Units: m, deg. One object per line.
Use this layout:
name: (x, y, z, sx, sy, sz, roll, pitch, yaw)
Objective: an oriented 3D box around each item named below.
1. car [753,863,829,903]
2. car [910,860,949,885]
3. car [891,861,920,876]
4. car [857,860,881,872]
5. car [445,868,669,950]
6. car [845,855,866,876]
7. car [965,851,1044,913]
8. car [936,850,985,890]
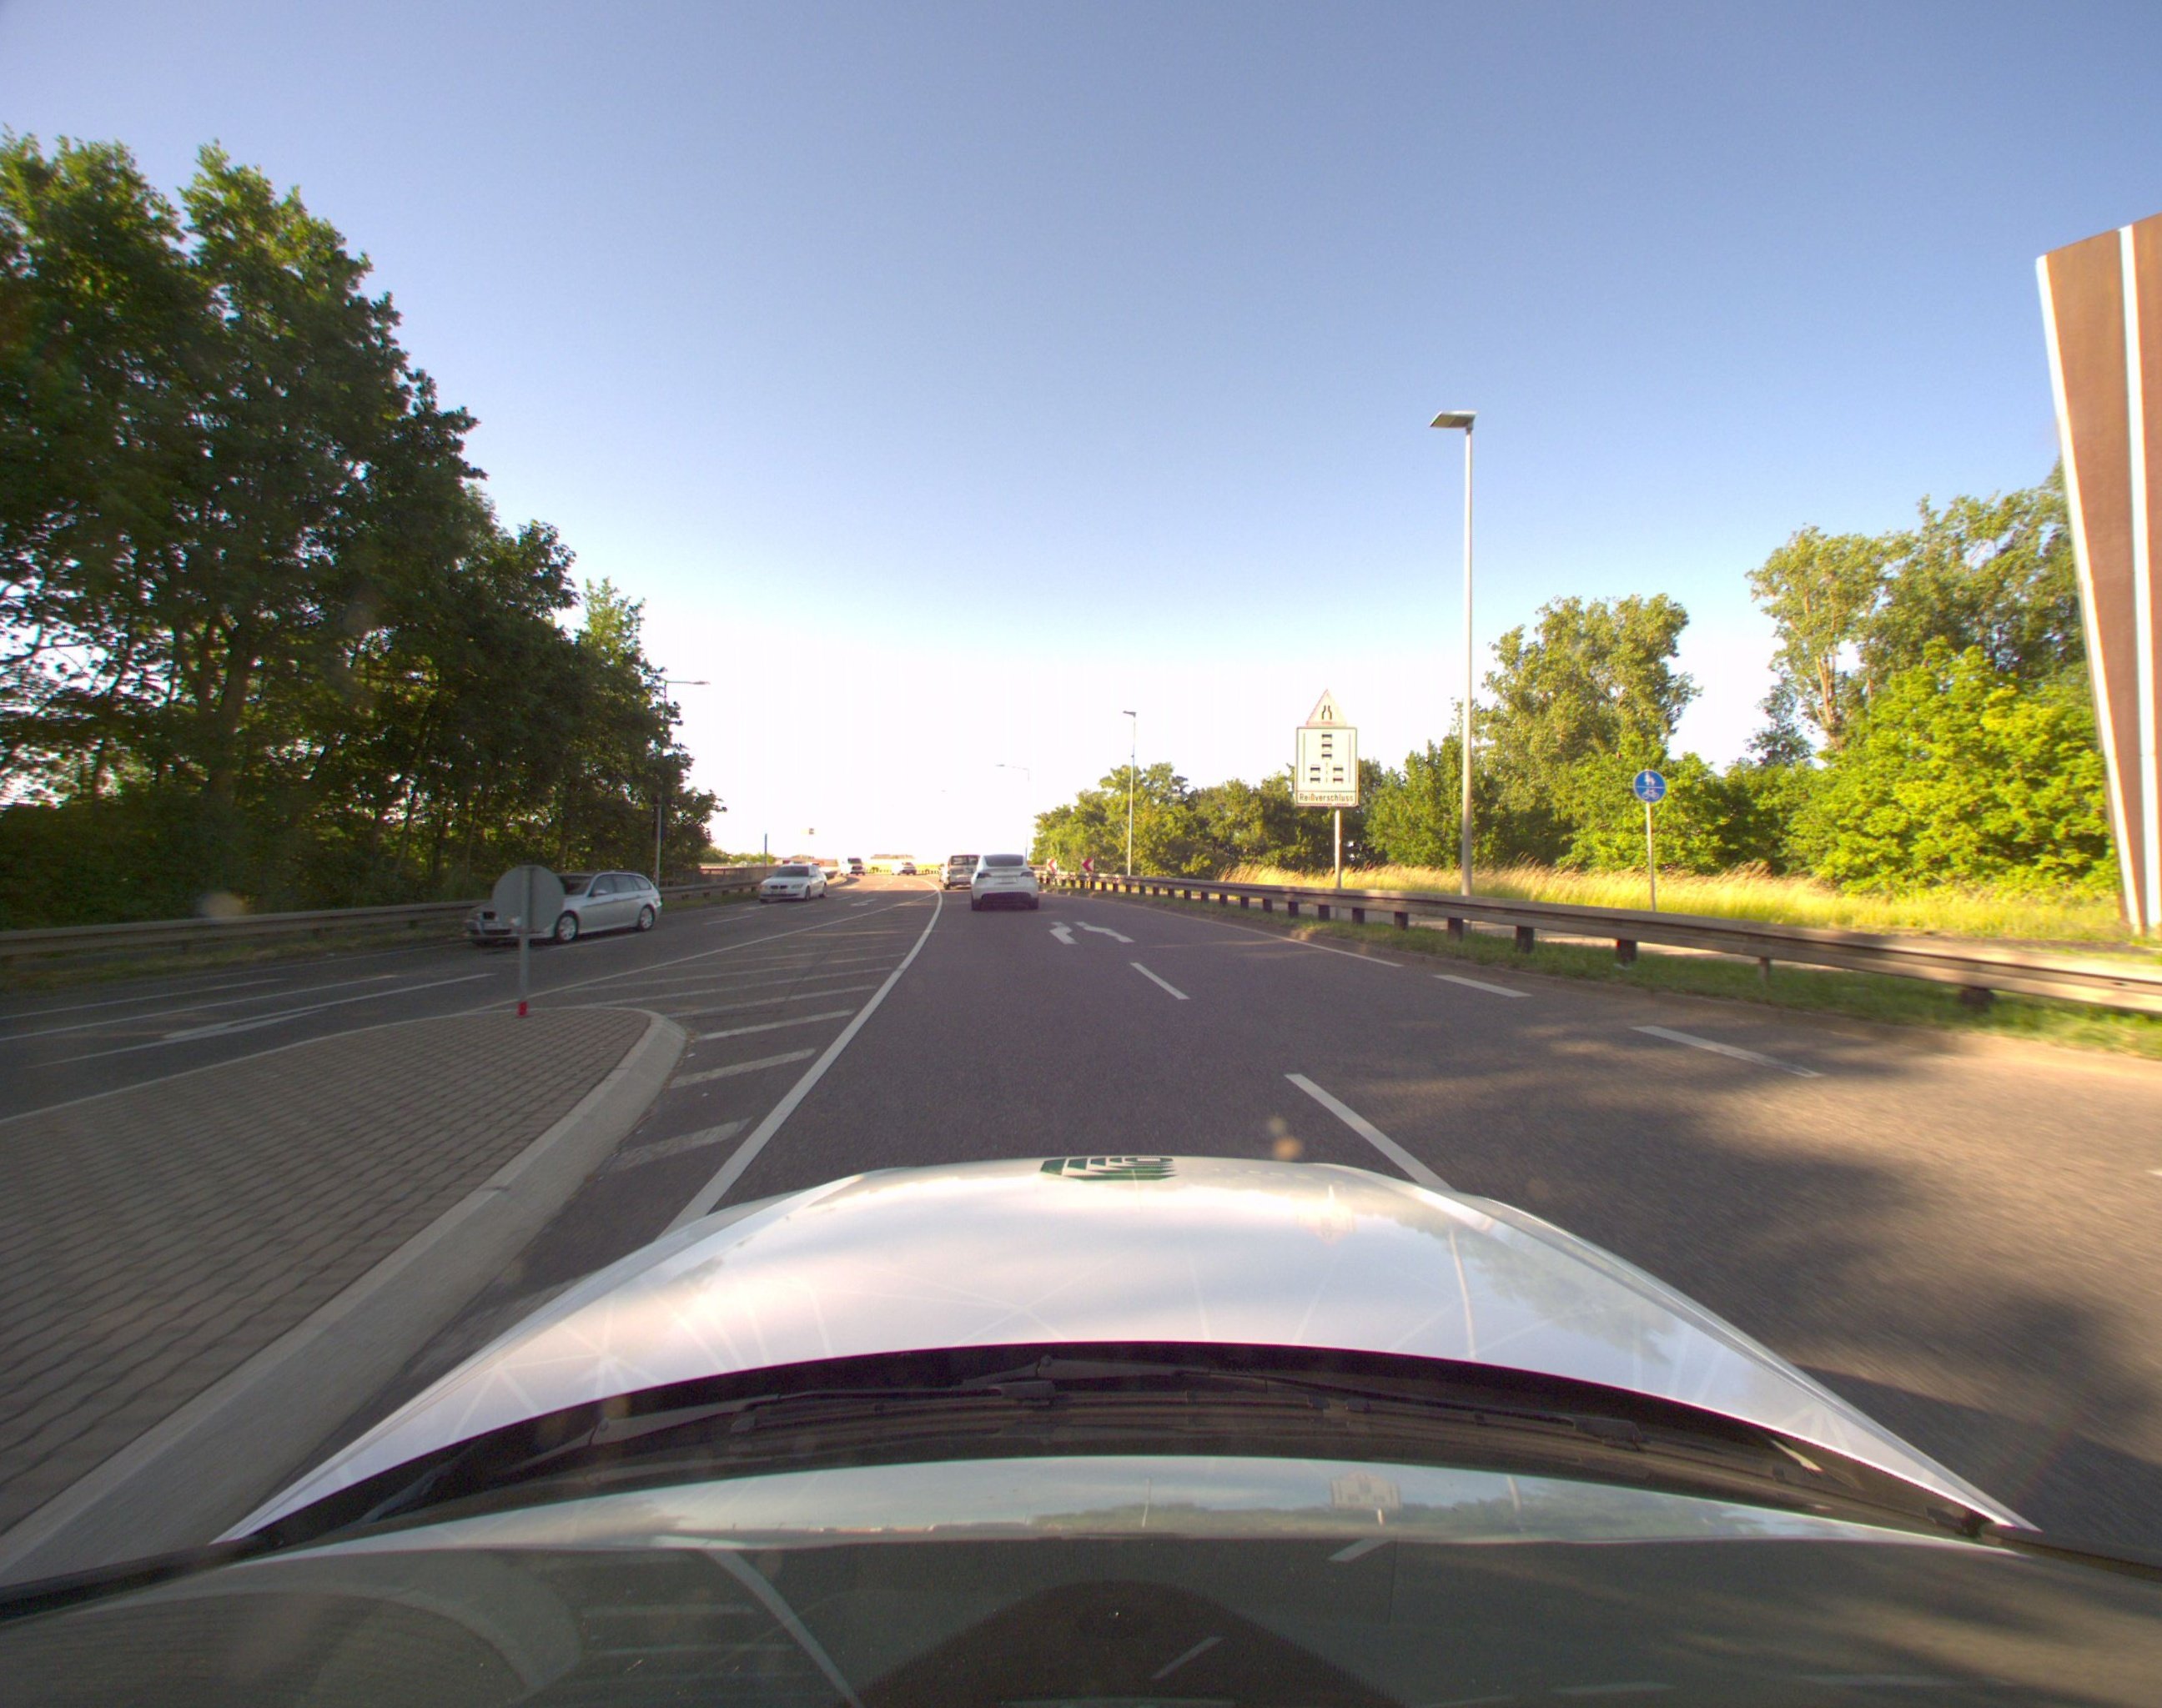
car: (-11.699, 1.122, 33.177, 1.845, 1.487, 4.619, -1, 0, -6)
car: (-10.480, 1.247, 56.161, 1.976, 1.638, 3.972, -1, 0, -21)
car: (-18.183, 1.475, 84.321, 2.004, 1.539, 3.966, 0, -1, -26)
car: (-27.403, 1.577, 105.144, 1.848, 1.556, 3.853, 0, -1, -33)
car: (-10.734, 1.048, 17.168, 1.695, 1.390, 4.528, -2, -1, 1)
car: (-24.304, 1.231, 87.654, 1.954, 2.112, 5.238, 0, 0, -18)
car: (-2.378, 0.785, 24.424, 1.986, 1.638, 4.047, -1, 0, -11)
car: (-6.283, 0.784, 42.136, 2.009, 1.940, 4.444, 0, -1, -15)
